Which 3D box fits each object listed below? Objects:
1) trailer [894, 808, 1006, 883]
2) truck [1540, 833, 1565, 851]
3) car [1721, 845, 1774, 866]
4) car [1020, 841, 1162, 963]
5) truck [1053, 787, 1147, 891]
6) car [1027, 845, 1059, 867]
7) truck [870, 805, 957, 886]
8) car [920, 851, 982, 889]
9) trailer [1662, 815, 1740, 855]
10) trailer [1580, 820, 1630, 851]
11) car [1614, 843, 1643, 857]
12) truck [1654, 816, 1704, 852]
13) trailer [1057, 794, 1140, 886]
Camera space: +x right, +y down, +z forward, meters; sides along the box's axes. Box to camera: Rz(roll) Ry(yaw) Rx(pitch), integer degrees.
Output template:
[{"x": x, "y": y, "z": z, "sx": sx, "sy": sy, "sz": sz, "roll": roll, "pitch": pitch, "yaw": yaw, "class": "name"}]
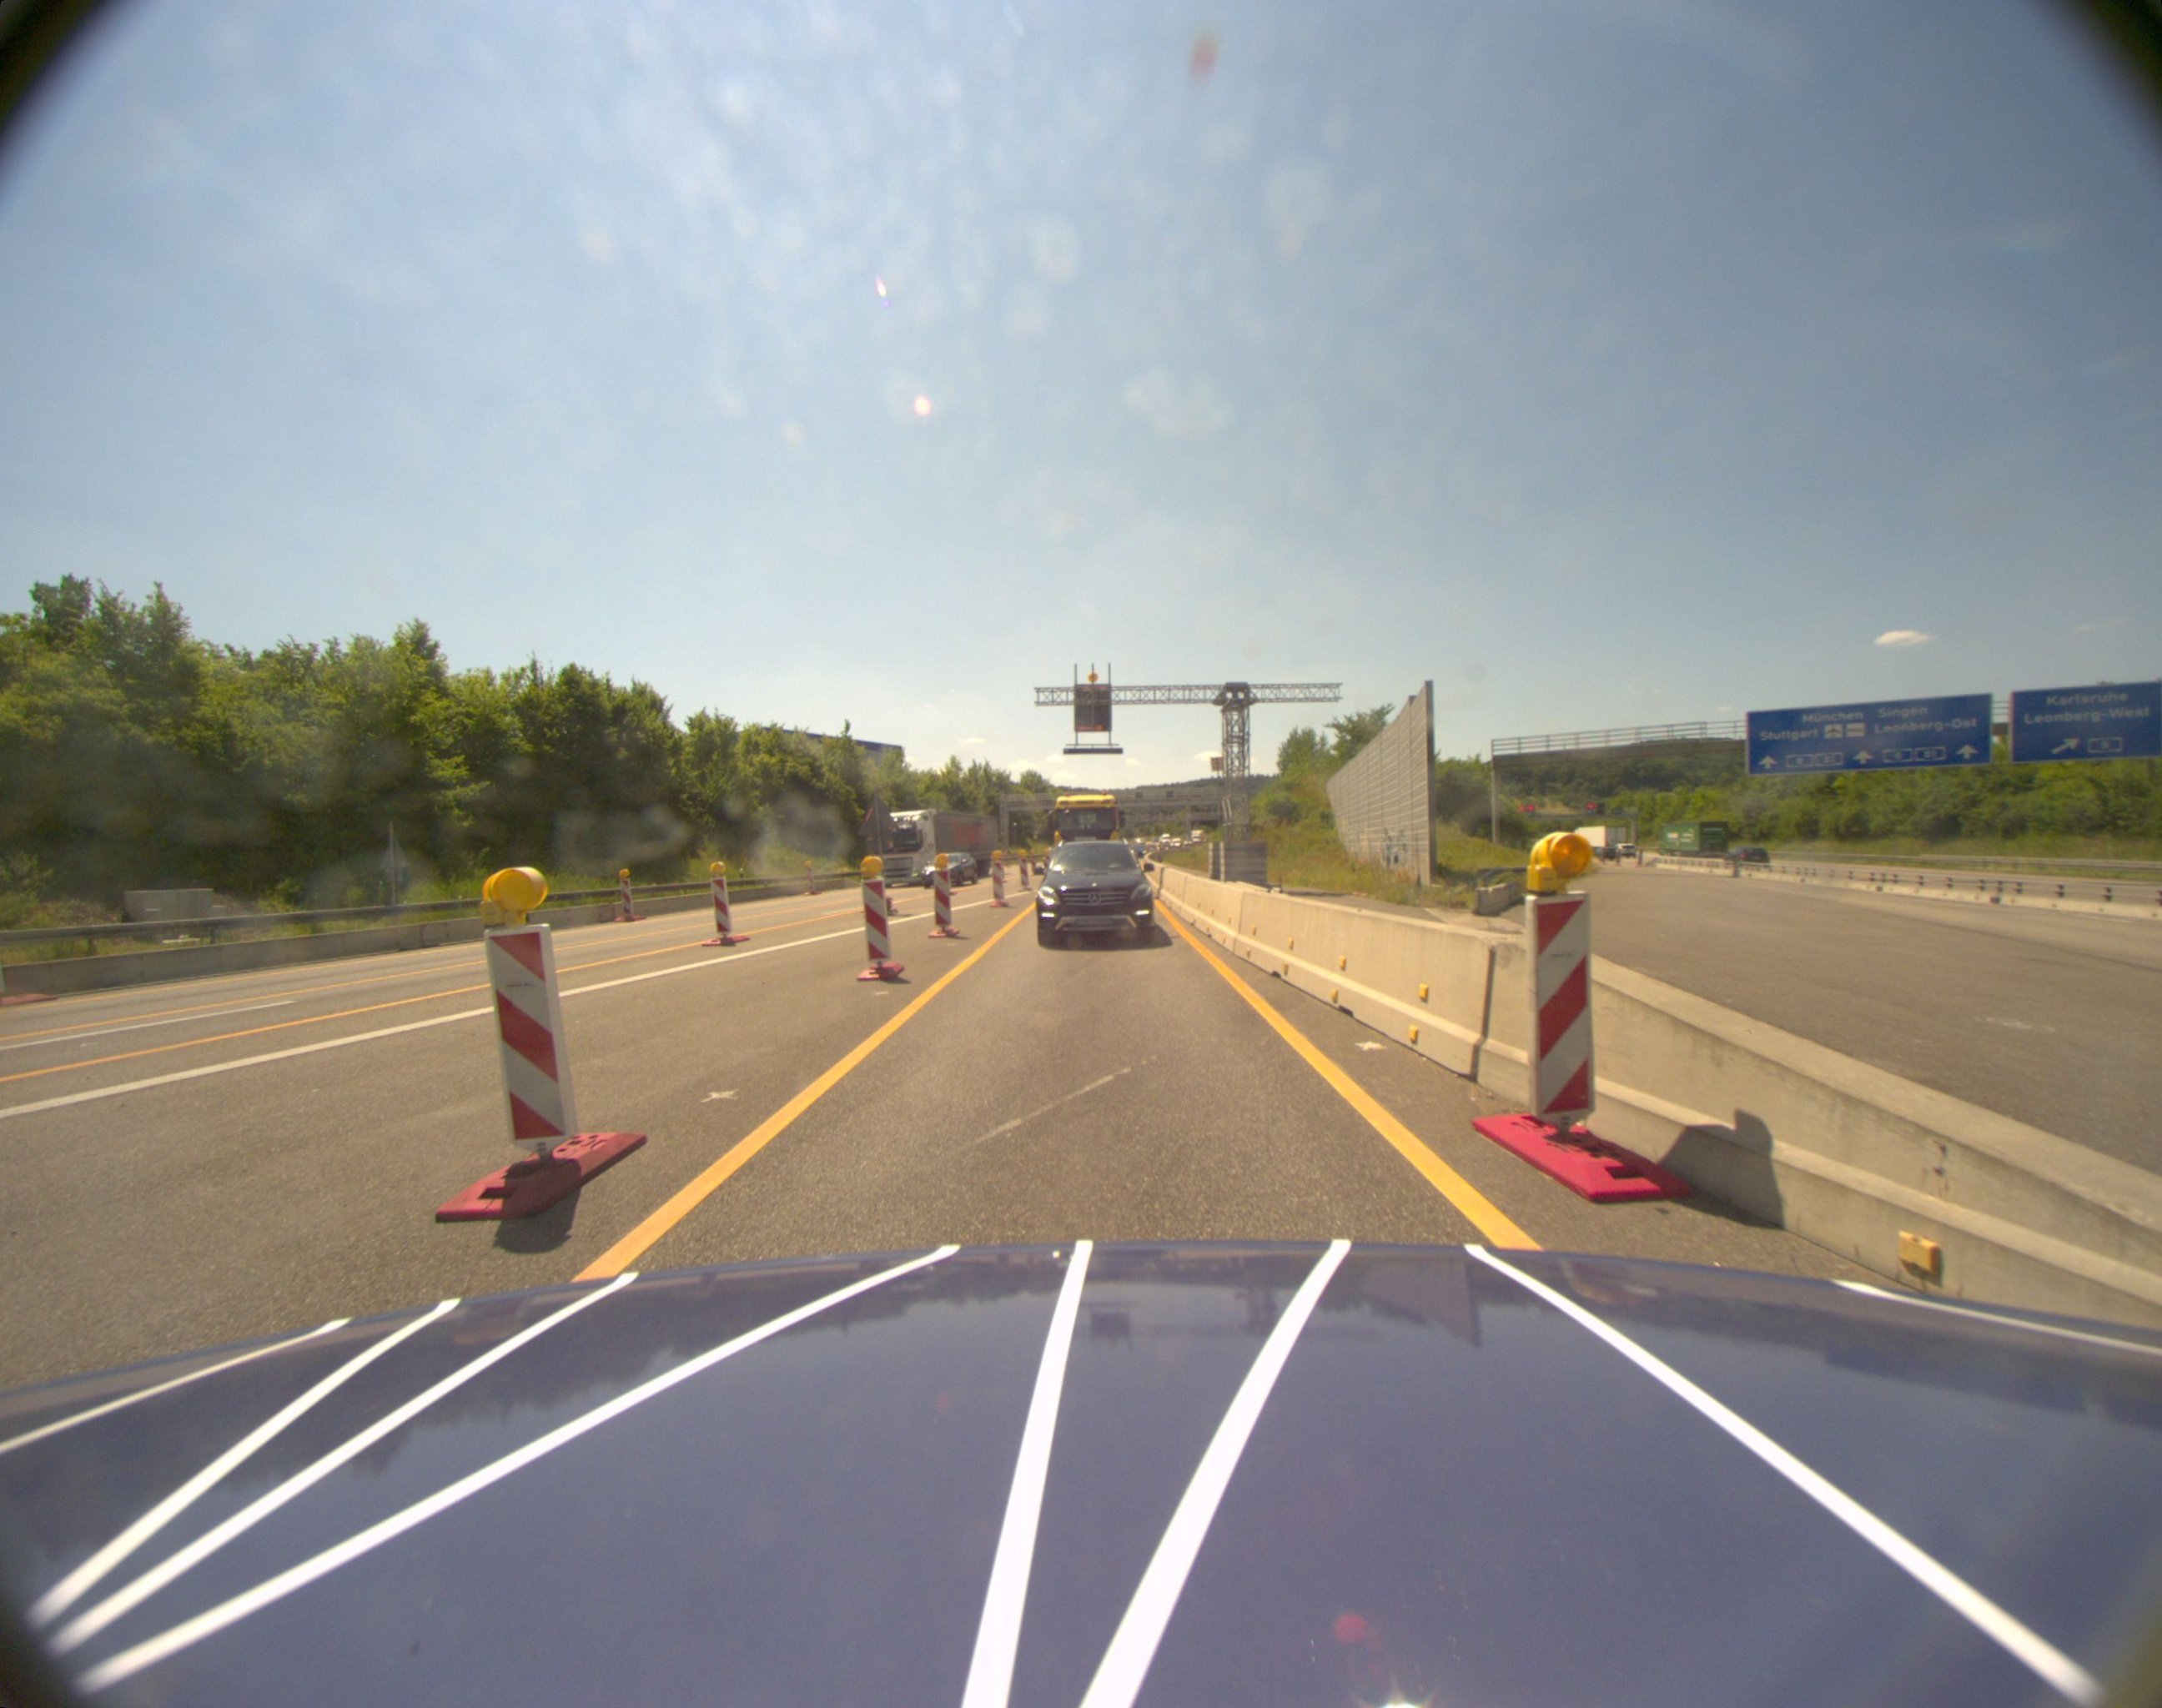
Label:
[{"x": -7.808, "y": -0.581, "z": 48.087, "sx": 2.545, "sy": 3.930, "sz": 13.875, "roll": -3, "pitch": 1, "yaw": 9, "class": "trailer"}, {"x": 120.823, "y": -3.053, "z": 194.732, "sx": 3.549, "sy": 4.246, "sz": 13.928, "roll": -1, "pitch": 1, "yaw": 24, "class": "truck"}, {"x": 49.589, "y": 0.068, "z": 56.588, "sx": 1.717, "sy": 1.483, "sz": 3.693, "roll": 0, "pitch": 1, "yaw": 20, "class": "car"}, {"x": 0.374, "y": 0.670, "z": 13.336, "sx": 1.818, "sy": 1.686, "sz": 4.495, "roll": -3, "pitch": 1, "yaw": 8, "class": "car"}, {"x": 0.675, "y": -0.566, "z": 31.187, "sx": 3.230, "sy": 3.639, "sz": 7.082, "roll": -3, "pitch": 0, "yaw": 0, "class": "truck"}, {"x": -3.157, "y": 0.135, "z": 64.317, "sx": 1.818, "sy": 1.686, "sz": 4.495, "roll": -3, "pitch": 1, "yaw": 8, "class": "car"}, {"x": -8.894, "y": -0.450, "z": 41.001, "sx": 2.532, "sy": 3.928, "sz": 5.601, "roll": -3, "pitch": 1, "yaw": 9, "class": "truck"}, {"x": -6.136, "y": 0.711, "z": 36.355, "sx": 1.709, "sy": 1.544, "sz": 4.032, "roll": -3, "pitch": 1, "yaw": 7, "class": "car"}, {"x": 72.277, "y": -2.262, "z": 89.041, "sx": 3.549, "sy": 4.246, "sz": 13.928, "roll": -1, "pitch": 1, "yaw": 24, "class": "trailer"}, {"x": 76.545, "y": -2.773, "z": 111.348, "sx": 3.549, "sy": 4.246, "sz": 13.928, "roll": -1, "pitch": 1, "yaw": 24, "class": "trailer"}, {"x": 63.782, "y": -0.487, "z": 88.584, "sx": 1.717, "sy": 1.614, "sz": 4.176, "roll": -1, "pitch": 1, "yaw": 21, "class": "car"}, {"x": 75.272, "y": -2.503, "z": 95.778, "sx": 3.549, "sy": 4.246, "sz": 5.787, "roll": -1, "pitch": 2, "yaw": 24, "class": "truck"}, {"x": 0.647, "y": -0.601, "z": 39.892, "sx": 3.237, "sy": 3.646, "sz": 17.419, "roll": -3, "pitch": 0, "yaw": 0, "class": "trailer"}]
